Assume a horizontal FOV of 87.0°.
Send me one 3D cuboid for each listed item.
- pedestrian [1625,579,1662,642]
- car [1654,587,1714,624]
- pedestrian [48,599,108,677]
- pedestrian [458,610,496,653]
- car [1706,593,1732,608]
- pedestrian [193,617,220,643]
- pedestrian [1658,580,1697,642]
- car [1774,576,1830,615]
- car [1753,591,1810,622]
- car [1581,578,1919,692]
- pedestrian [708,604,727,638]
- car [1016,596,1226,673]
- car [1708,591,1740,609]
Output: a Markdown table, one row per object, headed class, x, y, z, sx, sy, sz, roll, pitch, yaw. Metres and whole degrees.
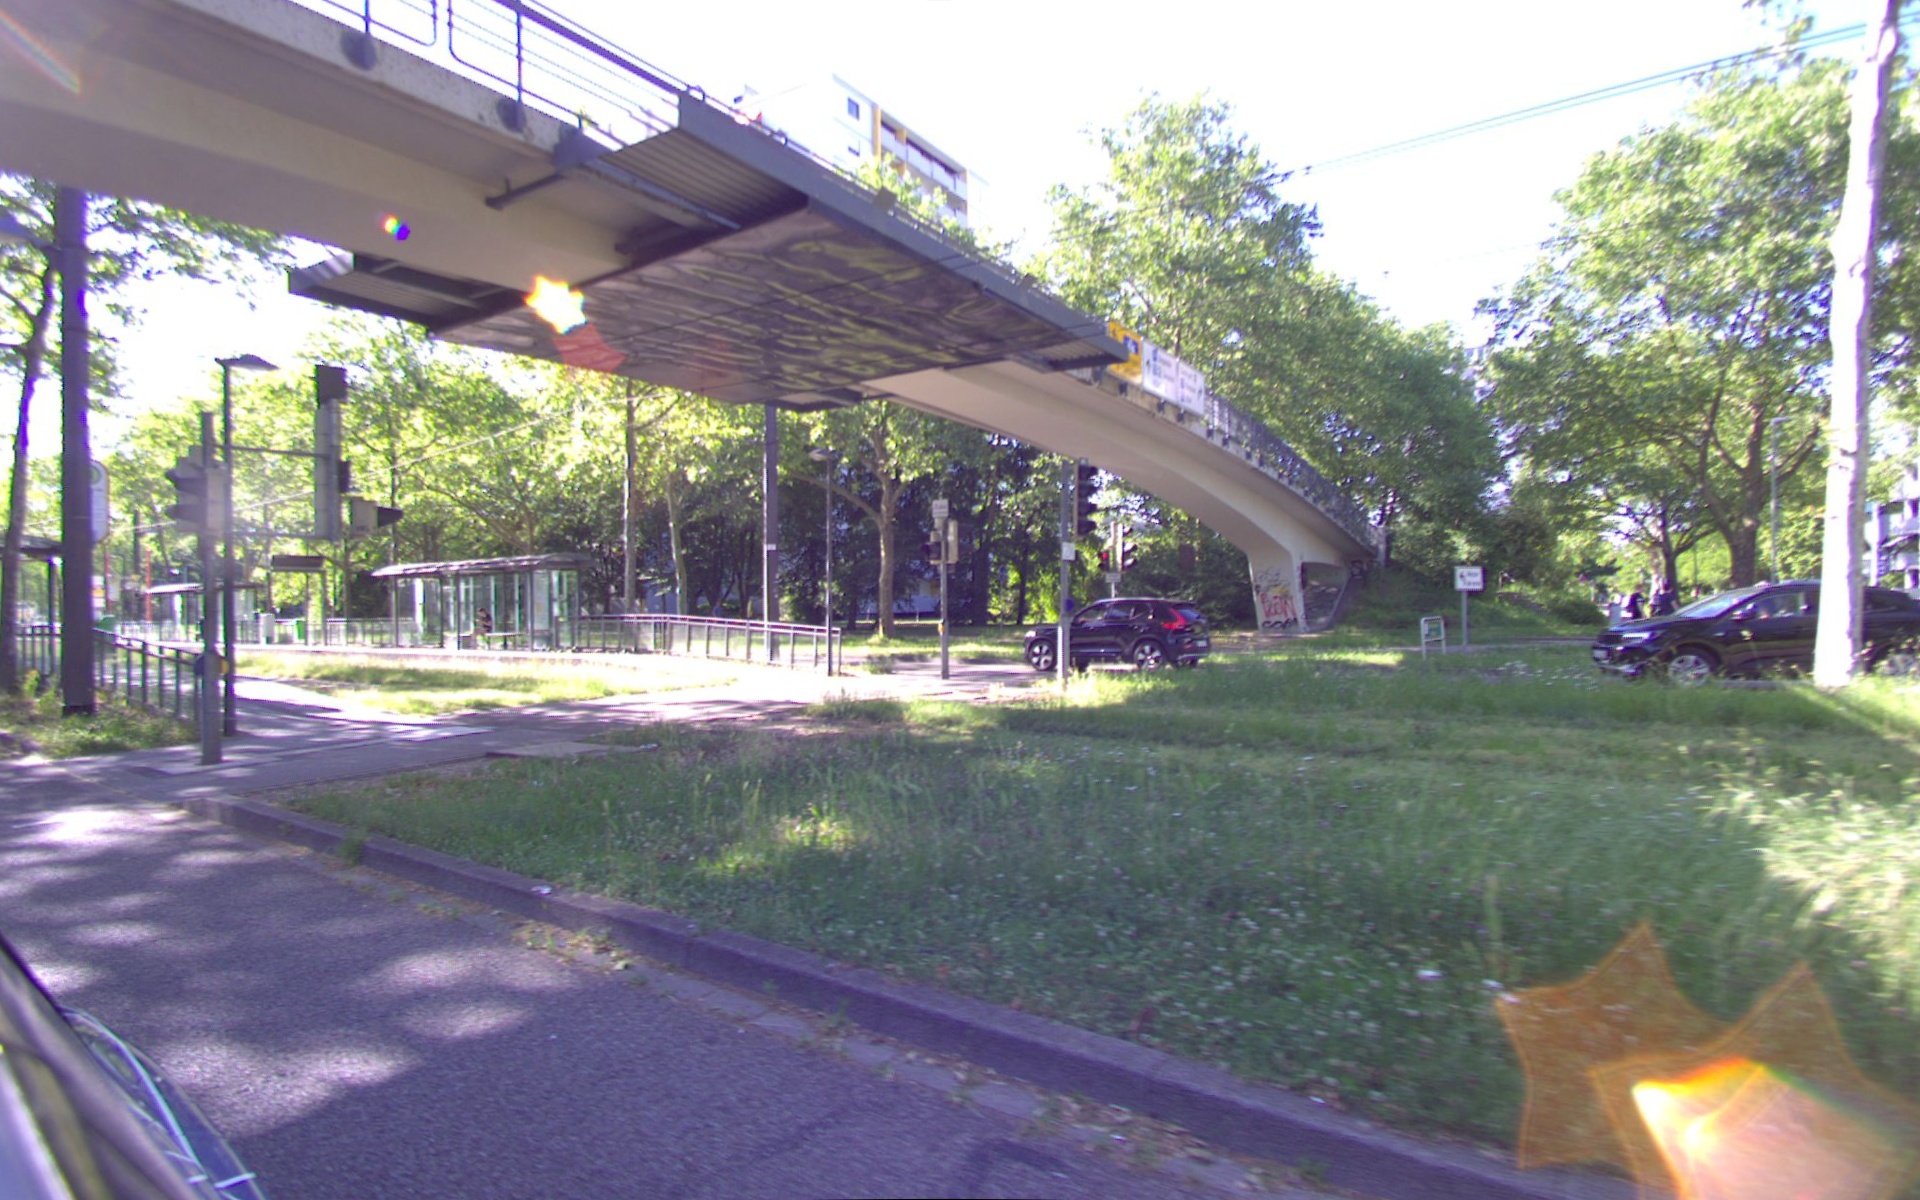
| class | x | y | z | sx | sy | sz | roll | pitch | yaw |
| --- | --- | --- | --- | --- | --- | --- | --- | --- | --- |
| pedestrian | 19.674 | 0.299 | 29.131 | 0.639 | 1.796 | 0.652 | -1 | -1 | -31 |
| car | 31.519 | 0.247 | 44.136 | 1.794 | 1.522 | 3.957 | -1 | 0 | 32 |
| pedestrian | -16.796 | 0.712 | 19.270 | 0.681 | 1.428 | 0.717 | -2 | 0 | 37 |
| pedestrian | -14.366 | 0.919 | 30.122 | 0.721 | 1.247 | 0.771 | -2 | 0 | 37 |
| car | 79.844 | 0.028 | 106.448 | 1.794 | 1.522 | 3.957 | -1 | 0 | 32 |
| pedestrian | -34.234 | 1.372 | 45.993 | 0.762 | 1.192 | 0.758 | -2 | -4 | 38 |
| pedestrian | 20.046 | 0.304 | 28.291 | 0.639 | 1.718 | 0.652 | -1 | -1 | -31 |
| car | 54.445 | -0.279 | 65.542 | 2.055 | 2.455 | 4.955 | -1 | -1 | 32 |
| car | 43.362 | 0.329 | 53.488 | 1.794 | 1.522 | 3.957 | -1 | 0 | 32 |
| car | 12.110 | 0.518 | 15.280 | 4.245 | 1.578 | 1.792 | -1 | -1 | 14 |
| pedestrian | -12.284 | 1.060 | 51.286 | 0.649 | 1.674 | 0.642 | -2 | 0 | 39 |
| car | 3.532 | 0.738 | 22.594 | 4.279 | 1.578 | 1.778 | -1 | -1 | 36 |
| car | 66.139 | -0.014 | 87.630 | 1.794 | 1.522 | 3.957 | -1 | 0 | 32 |
